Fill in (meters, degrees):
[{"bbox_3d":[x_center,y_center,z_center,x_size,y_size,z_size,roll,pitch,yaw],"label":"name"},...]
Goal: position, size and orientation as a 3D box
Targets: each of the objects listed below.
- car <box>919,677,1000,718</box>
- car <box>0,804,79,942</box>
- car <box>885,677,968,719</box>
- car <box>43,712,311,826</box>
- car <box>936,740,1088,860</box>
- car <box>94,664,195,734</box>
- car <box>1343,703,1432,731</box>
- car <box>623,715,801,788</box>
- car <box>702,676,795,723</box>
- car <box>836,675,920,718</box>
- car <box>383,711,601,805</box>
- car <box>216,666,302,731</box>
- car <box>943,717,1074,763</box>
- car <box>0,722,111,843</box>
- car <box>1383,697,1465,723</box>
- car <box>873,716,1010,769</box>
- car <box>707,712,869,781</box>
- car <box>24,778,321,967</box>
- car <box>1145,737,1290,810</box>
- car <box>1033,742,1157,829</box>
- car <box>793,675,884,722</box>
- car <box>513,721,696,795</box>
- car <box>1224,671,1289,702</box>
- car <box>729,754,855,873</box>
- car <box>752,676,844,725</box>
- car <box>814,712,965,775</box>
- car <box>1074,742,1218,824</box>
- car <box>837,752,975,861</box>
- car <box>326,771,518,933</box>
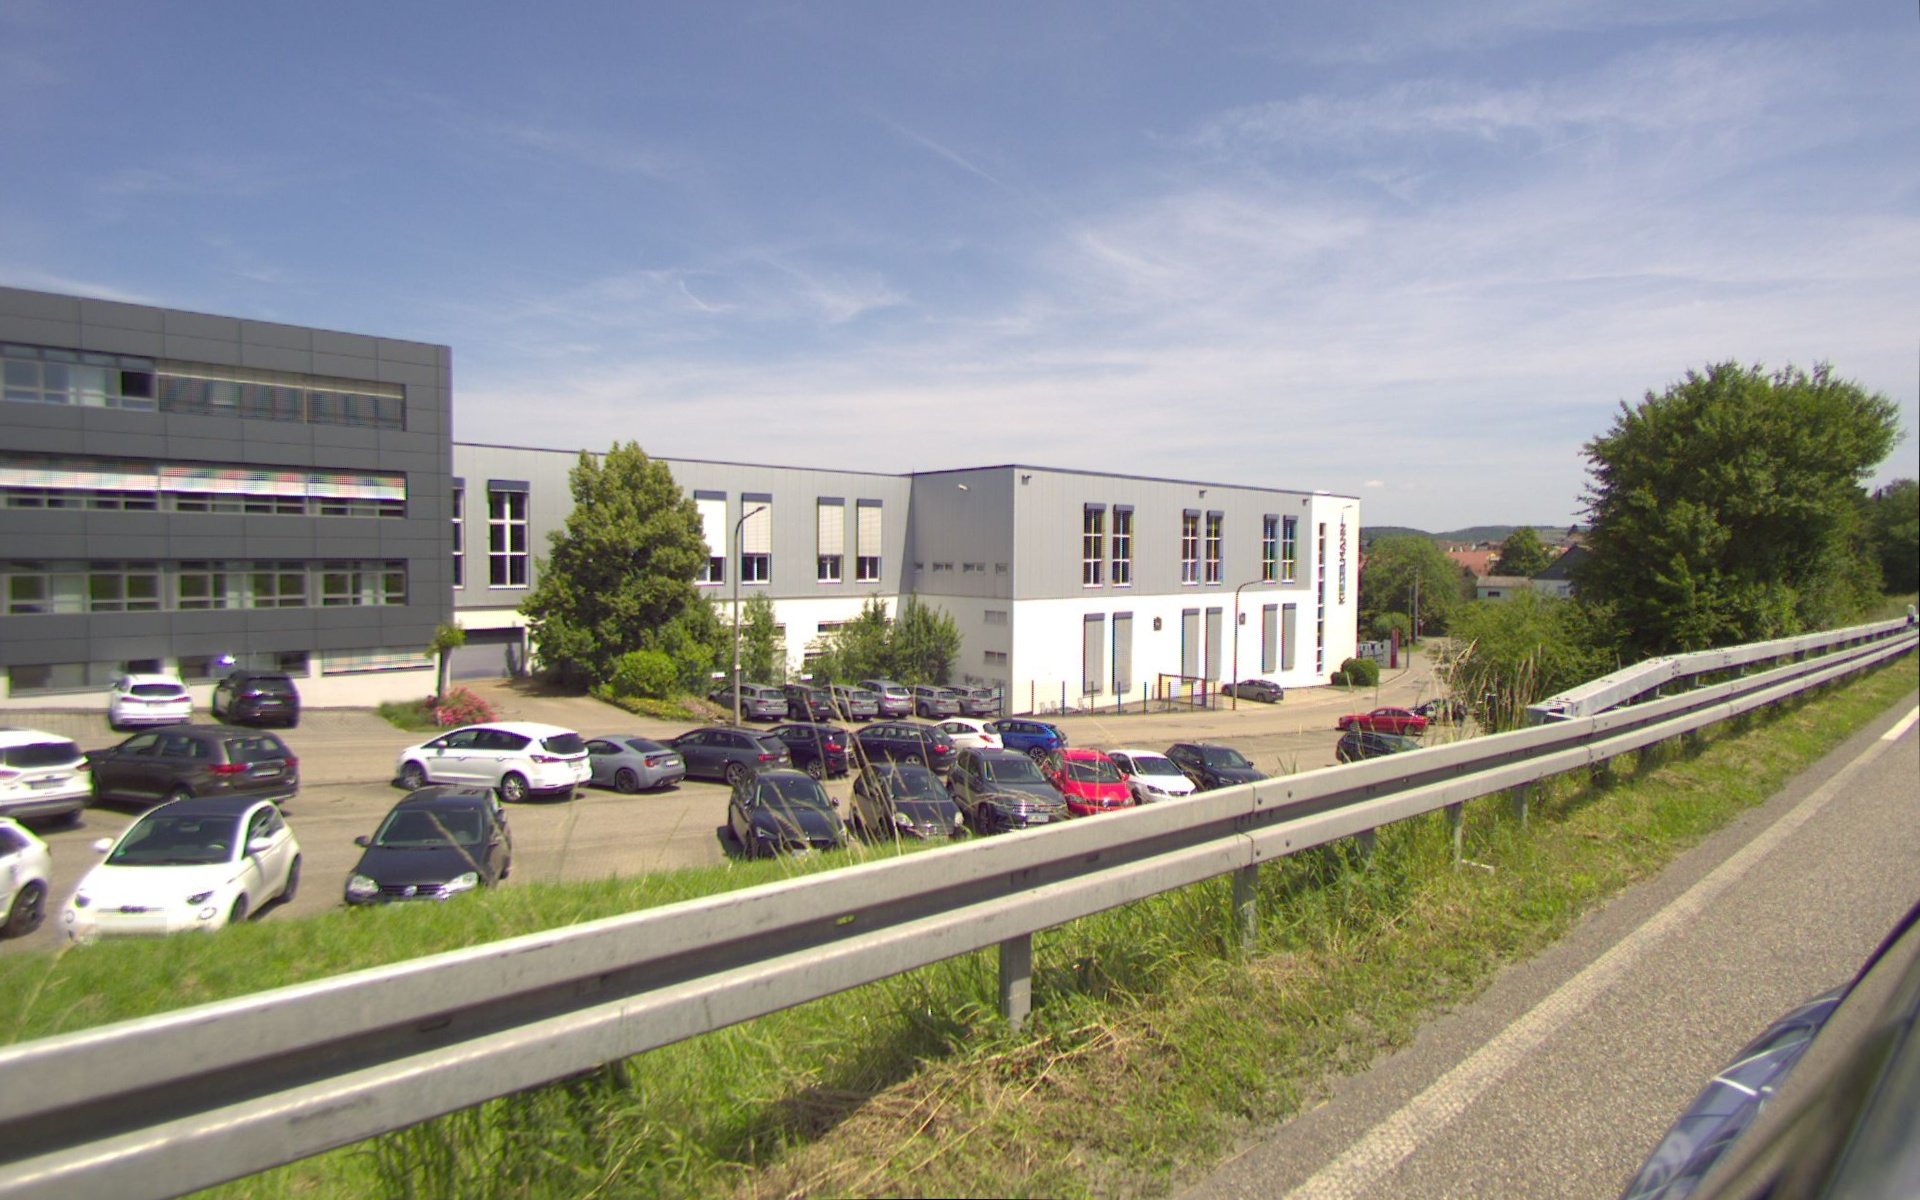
[{"bbox_3d":[-0.054,5.003,52.461,1.880,1.592,4.043,3,1,-43],"label":"car"},{"bbox_3d":[-11.871,3.222,10.871,1.780,1.413,4.382,0,-4,-14],"label":"car"},{"bbox_3d":[-1.698,4.854,50.673,1.880,1.592,4.043,3,1,-43],"label":"car"},{"bbox_3d":[-15.345,3.236,19.868,4.524,1.682,1.780,2,-3,17],"label":"car"},{"bbox_3d":[1.020,4.379,22.976,2.035,2.041,4.732,1,-4,-15],"label":"car"},{"bbox_3d":[-24.611,2.896,30.488,4.573,1.592,1.791,3,-1,44],"label":"car"},{"bbox_3d":[23.670,6.469,56.226,4.352,1.464,1.778,-2,-4,18],"label":"car"},{"bbox_3d":[-6.750,4.092,27.671,4.345,1.530,1.782,2,-4,14],"label":"car"},{"bbox_3d":[-9.244,4.266,44.042,1.790,1.592,4.576,3,-1,-43],"label":"car"},{"bbox_3d":[-4.013,4.653,49.228,1.880,1.592,4.043,3,1,-43],"label":"car"},{"bbox_3d":[-10.936,3.638,23.705,4.524,1.682,1.780,2,-3,17],"label":"car"},{"bbox_3d":[-22.568,3.096,32.526,1.788,1.592,4.581,4,-1,-40],"label":"car"},{"bbox_3d":[1.728,4.935,35.975,4.352,1.464,1.778,-2,-4,18],"label":"car"},{"bbox_3d":[-17.631,3.091,17.854,4.524,1.682,1.810,2,-3,17],"label":"car"},{"bbox_3d":[28.677,6.789,62.663,4.352,1.464,1.778,-2,-4,18],"label":"car"},{"bbox_3d":[-0.625,4.804,34.379,4.352,1.626,1.778,-2,-4,18],"label":"car"},{"bbox_3d":[-5.045,4.255,29.827,4.354,1.556,1.778,2,-3,19],"label":"car"},{"bbox_3d":[-9.877,3.321,13.122,1.644,1.538,4.132,1,-4,-17],"label":"car"},{"bbox_3d":[7.193,4.847,28.782,1.752,1.564,4.417,1,-4,-20],"label":"car"},{"bbox_3d":[3.171,4.433,24.789,1.945,1.580,4.413,0,-4,-7],"label":"car"},{"bbox_3d":[-5.702,4.561,47.241,1.790,1.592,4.578,3,1,-43],"label":"car"},{"bbox_3d":[-9.039,3.967,25.786,4.102,1.396,1.780,2,-3,17],"label":"car"},{"bbox_3d":[21.428,6.252,73.301,1.880,1.591,4.045,4,3,-43],"label":"car"},{"bbox_3d":[-3.287,3.863,19.045,1.874,1.508,4.732,1,-4,-15],"label":"car"},{"bbox_3d":[-7.332,4.446,45.551,1.790,1.592,4.578,3,1,-43],"label":"car"},{"bbox_3d":[-2.198,4.464,31.836,4.353,1.561,1.778,2,-3,19],"label":"car"},{"bbox_3d":[4.931,4.865,27.524,1.859,1.685,4.417,1,-4,-20],"label":"car"},{"bbox_3d":[-1.278,4.181,21.184,1.919,1.585,4.732,1,-4,-15],"label":"car"},{"bbox_3d":[-7.668,3.507,14.849,1.675,1.511,4.383,1,-4,-17],"label":"car"}]
